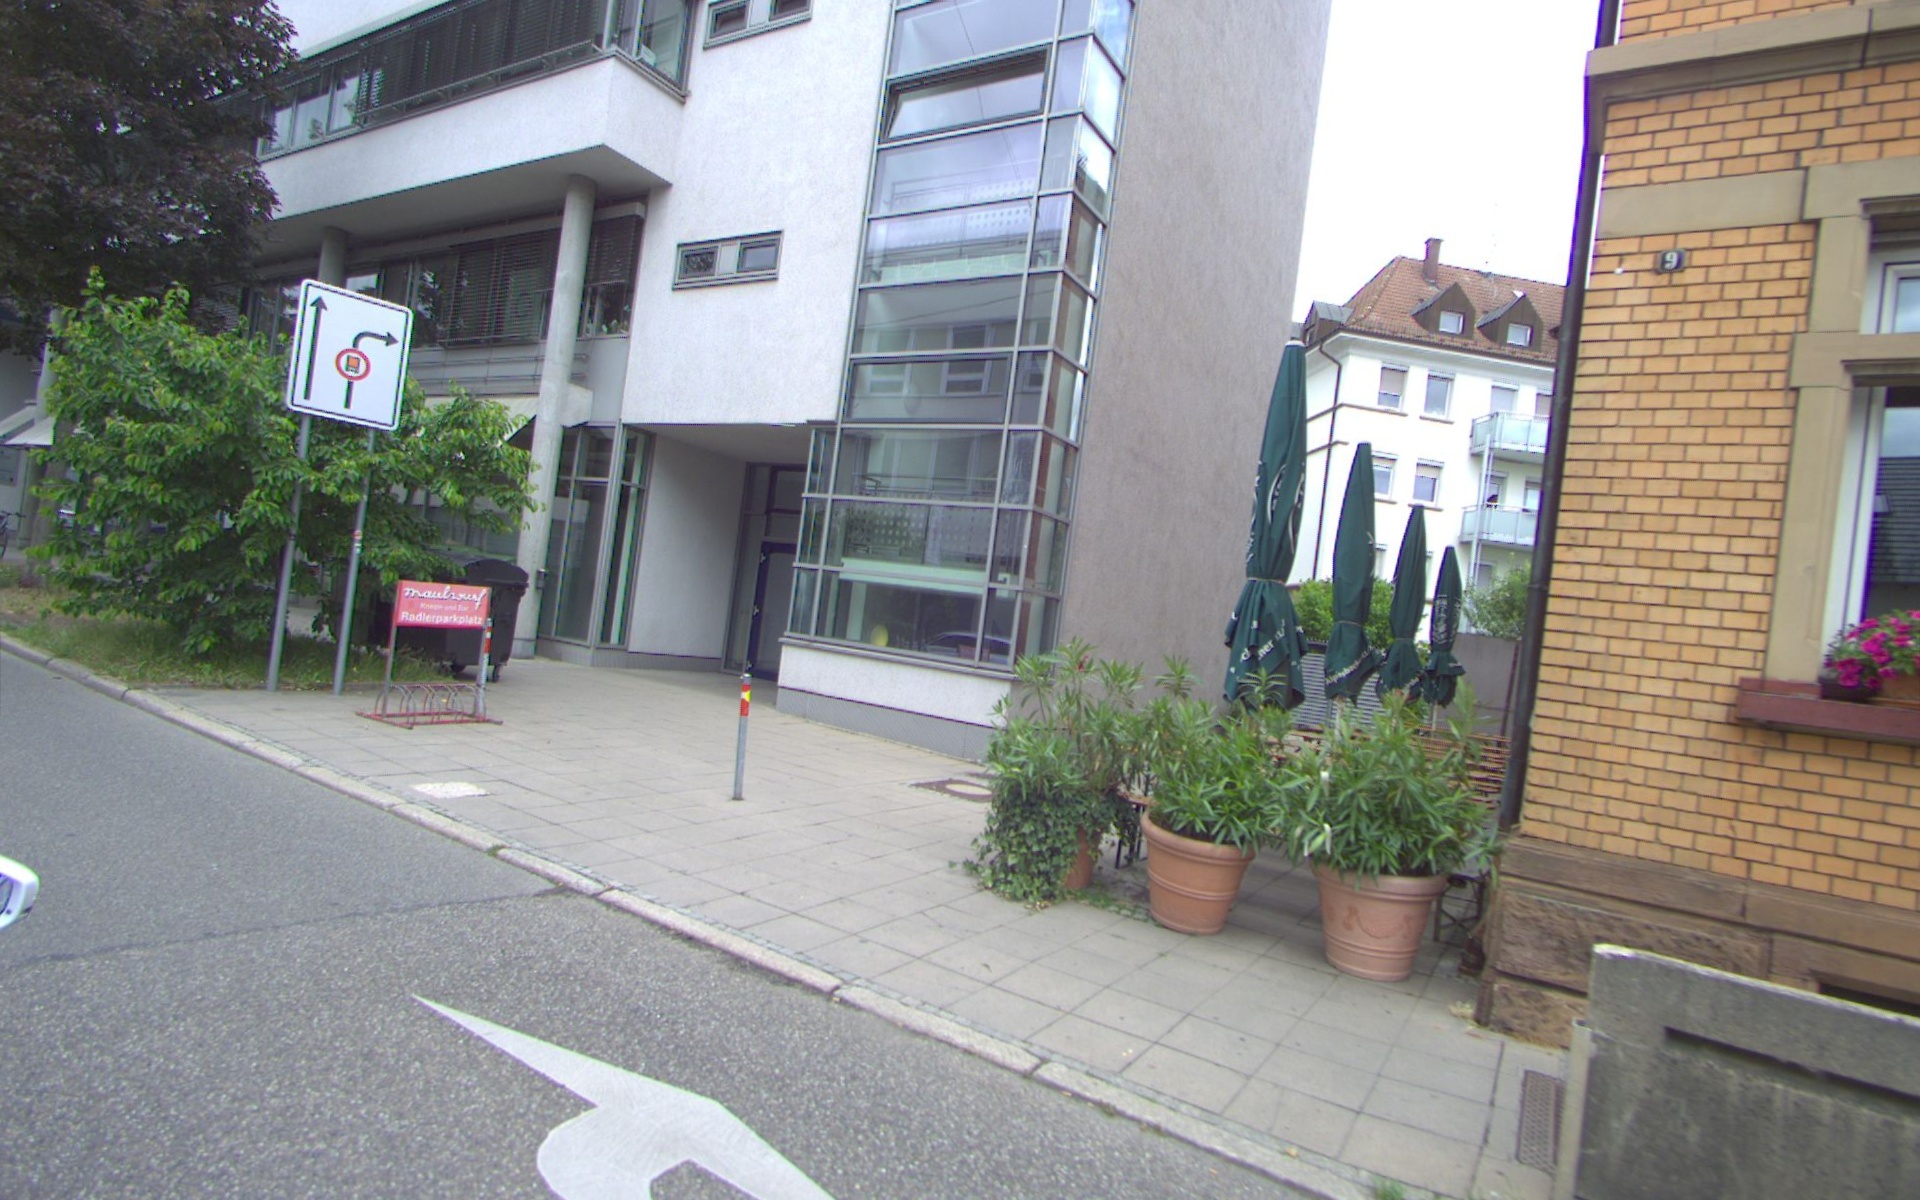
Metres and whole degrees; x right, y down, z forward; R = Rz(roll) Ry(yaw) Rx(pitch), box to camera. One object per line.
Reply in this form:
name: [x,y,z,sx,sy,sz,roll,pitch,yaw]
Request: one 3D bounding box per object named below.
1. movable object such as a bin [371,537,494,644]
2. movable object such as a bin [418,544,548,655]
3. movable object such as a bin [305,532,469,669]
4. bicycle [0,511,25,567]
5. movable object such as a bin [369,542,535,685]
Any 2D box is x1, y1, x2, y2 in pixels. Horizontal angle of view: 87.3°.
movable object such as a bin: [-8.367,-0.140,15.967,1.311,1.484,1.099,7,1,31]
movable object such as a bin: [-7.229,-0.003,15.276,1.311,1.484,1.123,7,1,31]
movable object such as a bin: [-7.124,0.014,12.522,1.389,1.484,1.129,7,1,31]
bicycle: [-20.789,-1.374,21.628,1.993,1.099,0.361,7,-2,31]
movable object such as a bin: [-5.971,0.170,11.839,1.311,1.484,1.099,7,1,31]
